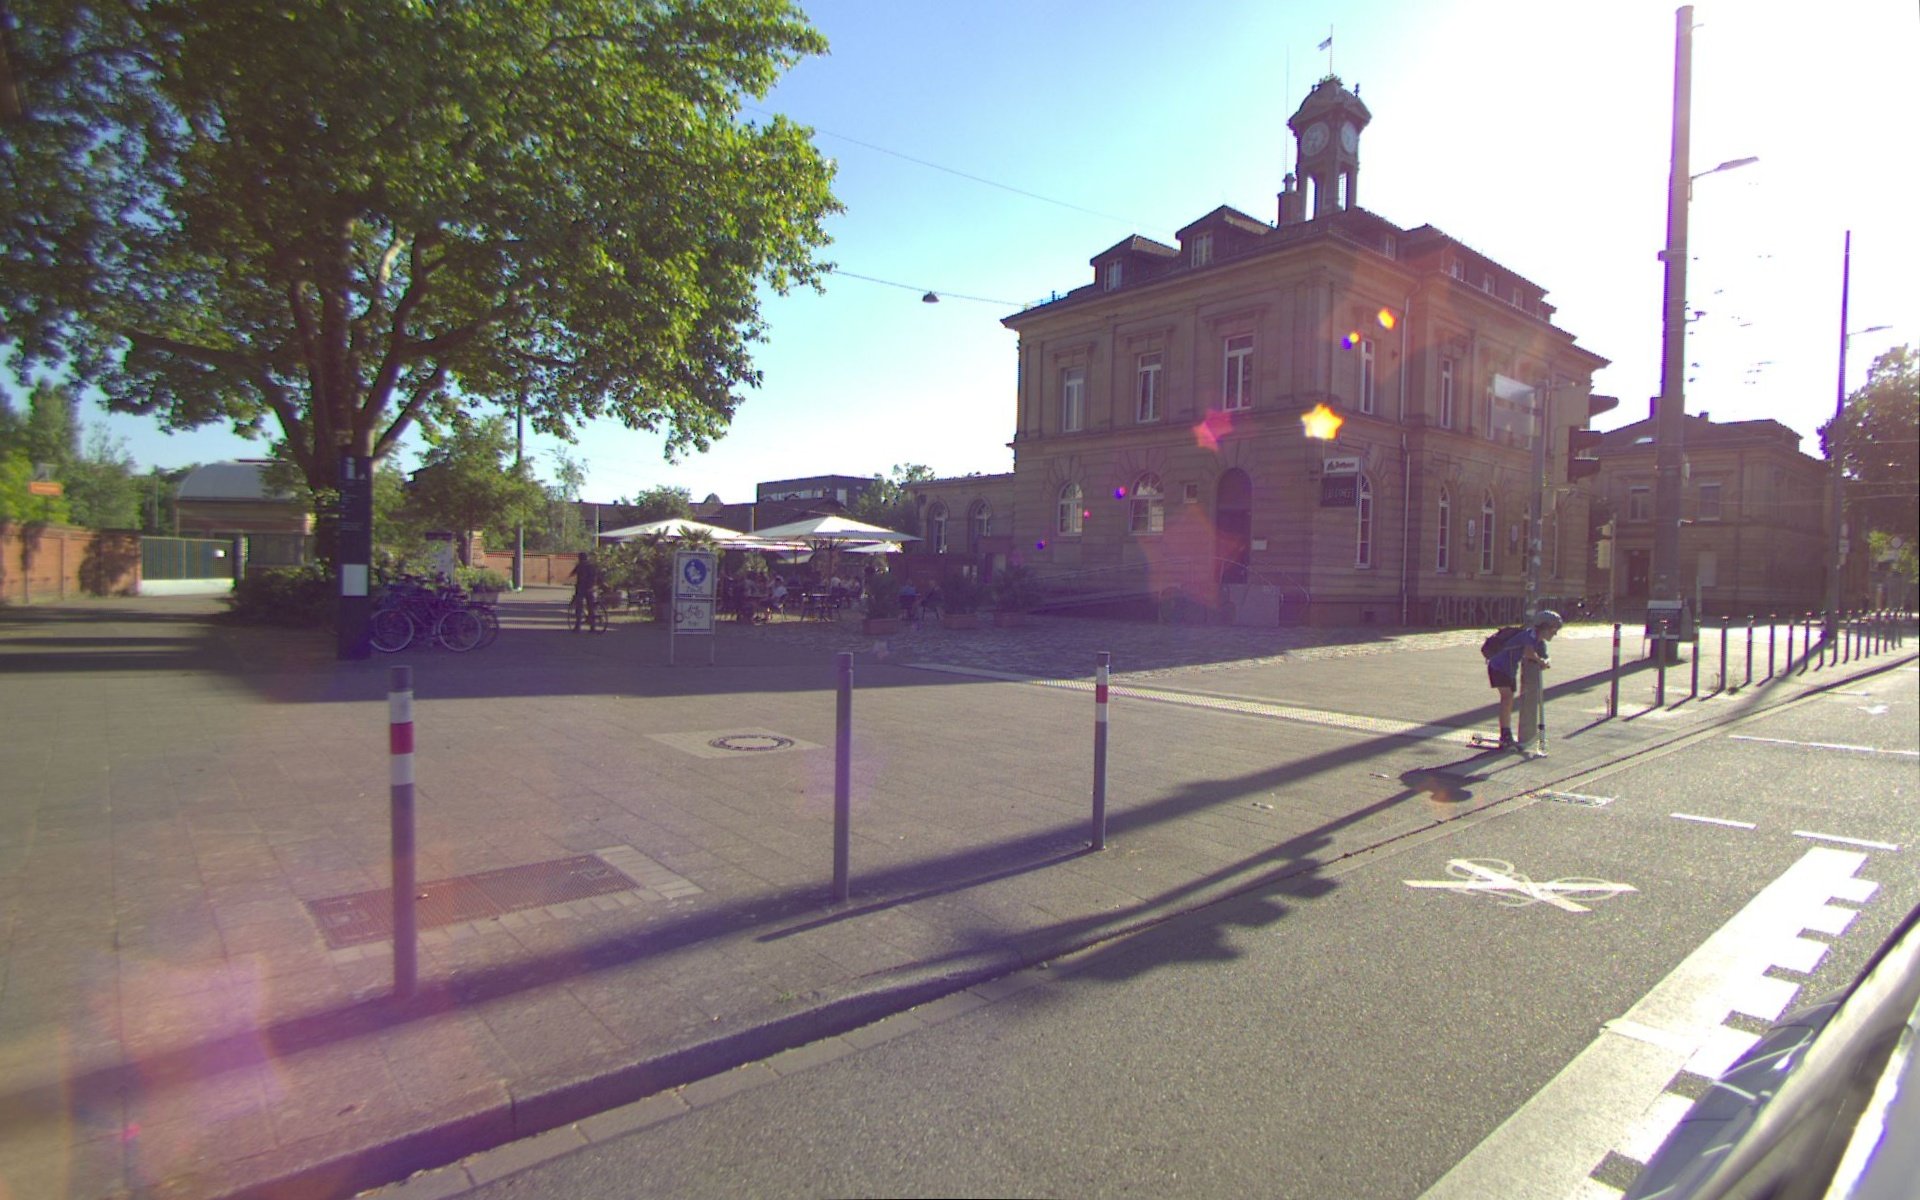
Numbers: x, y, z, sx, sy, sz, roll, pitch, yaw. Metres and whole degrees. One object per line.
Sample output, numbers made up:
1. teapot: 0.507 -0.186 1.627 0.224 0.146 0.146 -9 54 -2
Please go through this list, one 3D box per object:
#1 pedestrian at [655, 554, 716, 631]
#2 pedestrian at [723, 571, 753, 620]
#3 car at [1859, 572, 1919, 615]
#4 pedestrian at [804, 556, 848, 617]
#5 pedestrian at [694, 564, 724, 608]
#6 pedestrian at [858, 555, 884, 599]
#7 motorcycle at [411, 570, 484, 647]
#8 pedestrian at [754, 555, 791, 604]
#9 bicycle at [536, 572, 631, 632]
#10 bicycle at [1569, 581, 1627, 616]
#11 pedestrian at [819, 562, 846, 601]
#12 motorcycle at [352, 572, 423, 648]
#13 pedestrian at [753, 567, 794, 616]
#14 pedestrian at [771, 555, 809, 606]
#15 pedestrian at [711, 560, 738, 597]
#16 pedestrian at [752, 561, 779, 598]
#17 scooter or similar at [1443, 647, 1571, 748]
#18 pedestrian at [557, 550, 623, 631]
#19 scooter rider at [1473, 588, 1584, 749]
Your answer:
1. pedestrian: -6.715 -0.195 24.793 0.994 1.810 1.023 4 3 39
2. pedestrian: -6.468 -0.139 29.447 0.641 1.393 0.675 0 1 -31
3. car: 46.963 -0.372 50.888 3.926 2.072 1.834 -1 1 -37
4. pedestrian: -4.022 -0.415 30.358 1.021 1.766 0.996 1 2 12
5. pedestrian: -8.706 -0.494 35.113 0.653 1.484 0.838 0 3 -42
6. pedestrian: -3.679 -0.956 41.684 0.653 1.765 0.838 0 3 -43
7. motorcycle: -8.445 0.098 16.621 0.869 1.174 2.228 0 1 -32
8. pedestrian: -6.919 -0.775 37.436 0.984 1.765 1.034 3 3 13
9. bicycle: -8.590 0.006 23.048 2.655 1.294 0.771 1 1 38
10. bicycle: 23.453 -0.054 37.226 0.678 1.195 1.649 0 3 -42
11. pedestrian: -4.976 -0.733 39.377 0.653 1.484 0.838 0 3 -42
12. motorcycle: -9.028 0.120 15.913 0.869 1.116 2.085 0 1 -32
13. pedestrian: -5.537 -0.240 30.019 0.978 1.396 0.775 1 3 -28
14. pedestrian: -6.120 -0.728 36.418 0.984 1.765 1.034 3 3 13
15. pedestrian: -9.743 -0.876 41.908 0.825 1.484 0.663 0 3 -44
16. pedestrian: -8.079 -0.871 41.988 0.835 1.484 0.656 4 3 37
17. scooter or similar: 5.129 0.893 9.533 0.260 0.821 1.023 0 2 -39
18. pedestrian: -8.455 -0.227 23.130 0.994 1.765 1.023 4 3 39
19. scooter rider: 5.306 0.605 9.454 0.589 1.414 0.703 0 1 -40
